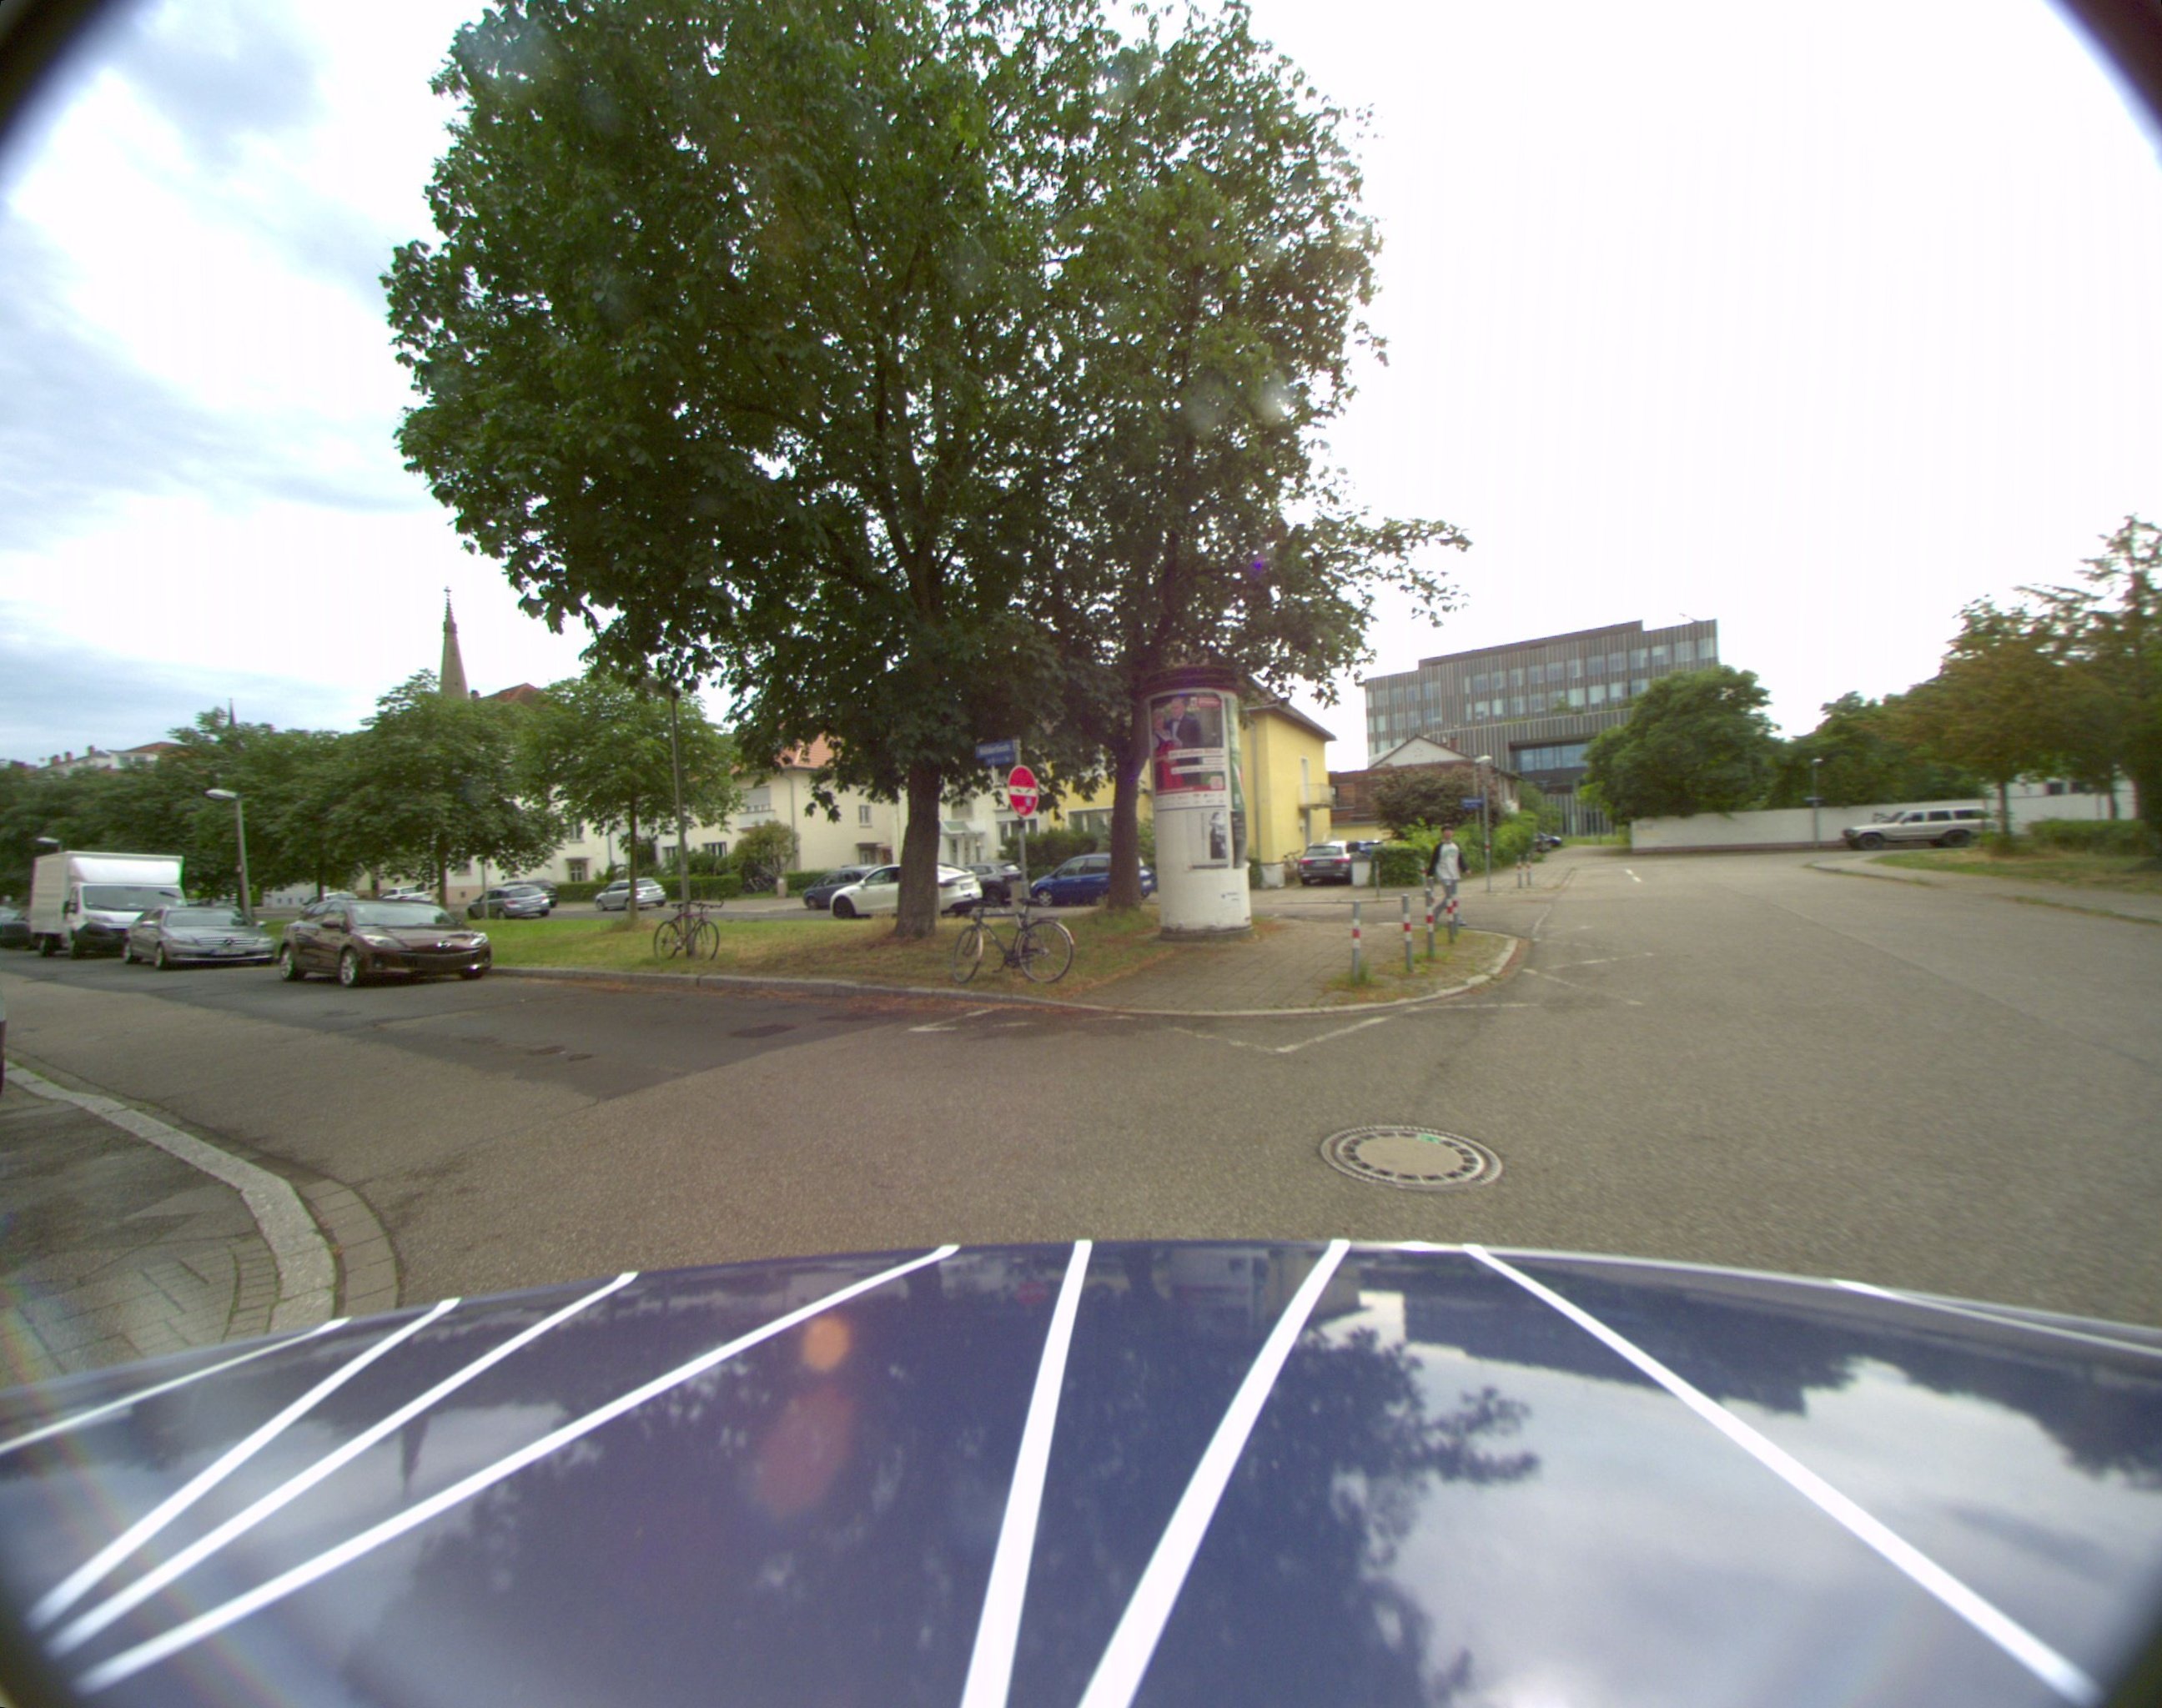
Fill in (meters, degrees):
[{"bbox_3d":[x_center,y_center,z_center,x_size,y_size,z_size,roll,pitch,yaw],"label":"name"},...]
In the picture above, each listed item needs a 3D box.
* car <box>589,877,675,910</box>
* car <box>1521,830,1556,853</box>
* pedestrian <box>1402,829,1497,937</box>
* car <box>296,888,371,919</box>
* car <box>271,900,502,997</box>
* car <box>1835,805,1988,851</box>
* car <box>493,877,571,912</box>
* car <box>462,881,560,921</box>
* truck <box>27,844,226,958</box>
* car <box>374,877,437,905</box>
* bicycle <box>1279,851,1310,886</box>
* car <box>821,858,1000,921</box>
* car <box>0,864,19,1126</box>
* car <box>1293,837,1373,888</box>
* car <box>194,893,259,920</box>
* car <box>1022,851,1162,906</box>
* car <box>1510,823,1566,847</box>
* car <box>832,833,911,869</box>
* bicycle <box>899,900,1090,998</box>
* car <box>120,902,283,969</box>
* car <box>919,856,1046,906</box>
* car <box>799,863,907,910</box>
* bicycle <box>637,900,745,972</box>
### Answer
[{"bbox_3d":[-21.912,1.932,37.077,3.931,1.347,1.808,-3,2,29],"label":"car"},{"bbox_3d":[34.668,-0.983,57.533,1.995,1.390,4.006,-3,3,35],"label":"car"},{"bbox_3d":[6.618,0.494,13.699,0.880,1.825,1.217,-3,1,-23],"label":"pedestrian"},{"bbox_3d":[-40.853,2.696,41.509,3.996,1.480,1.808,-3,2,29],"label":"car"},{"bbox_3d":[-12.084,1.558,13.181,4.152,1.448,1.720,-3,-4,29],"label":"car"},{"bbox_3d":[39.105,-1.216,35.963,4.482,1.849,2.003,-3,3,31],"label":"car"},{"bbox_3d":[-30.621,2.285,42.372,4.090,1.665,1.807,-3,4,29],"label":"car"},{"bbox_3d":[-24.424,2.029,32.533,3.996,1.480,1.808,-3,2,29],"label":"car"},{"bbox_3d":[-28.226,1.444,22.413,7.094,2.938,2.452,-3,-4,29],"label":"truck"},{"bbox_3d":[-44.355,2.410,49.891,3.996,1.598,1.808,-3,2,29],"label":"car"},{"bbox_3d":[7.783,0.501,27.689,0.482,1.187,2.180,-3,0,31],"label":"bicycle"},{"bbox_3d":[-4.888,1.020,21.644,4.871,1.557,1.906,-3,0,29],"label":"car"},{"bbox_3d":[-10.816,1.188,6.225,5.000,1.984,1.888,-3,-1,29],"label":"car"},{"bbox_3d":[8.964,0.258,26.781,1.838,1.601,4.007,-2,1,30],"label":"car"},{"bbox_3d":[-57.670,3.535,51.270,3.996,1.630,1.974,-3,2,29],"label":"car"},{"bbox_3d":[0.310,0.815,24.680,4.199,1.557,1.708,-2,2,33],"label":"car"},{"bbox_3d":[40.080,-1.665,66.666,3.989,1.828,2.003,-3,3,36],"label":"car"},{"bbox_3d":[-11.935,-0.186,43.575,1.995,1.718,4.005,-3,3,30],"label":"car"},{"bbox_3d":[-1.022,1.066,8.728,2.177,0.980,0.513,-3,3,27],"label":"bicycle"},{"bbox_3d":[-21.469,1.943,18.514,4.437,1.449,1.720,-3,-4,29],"label":"car"},{"bbox_3d":[-3.530,0.985,27.067,4.156,1.492,1.722,-3,3,29],"label":"car"},{"bbox_3d":[-9.044,1.304,30.090,3.875,1.593,1.722,-3,3,28],"label":"car"},{"bbox_3d":[-6.483,1.331,12.609,1.880,1.060,0.669,-3,1,31],"label":"bicycle"}]
